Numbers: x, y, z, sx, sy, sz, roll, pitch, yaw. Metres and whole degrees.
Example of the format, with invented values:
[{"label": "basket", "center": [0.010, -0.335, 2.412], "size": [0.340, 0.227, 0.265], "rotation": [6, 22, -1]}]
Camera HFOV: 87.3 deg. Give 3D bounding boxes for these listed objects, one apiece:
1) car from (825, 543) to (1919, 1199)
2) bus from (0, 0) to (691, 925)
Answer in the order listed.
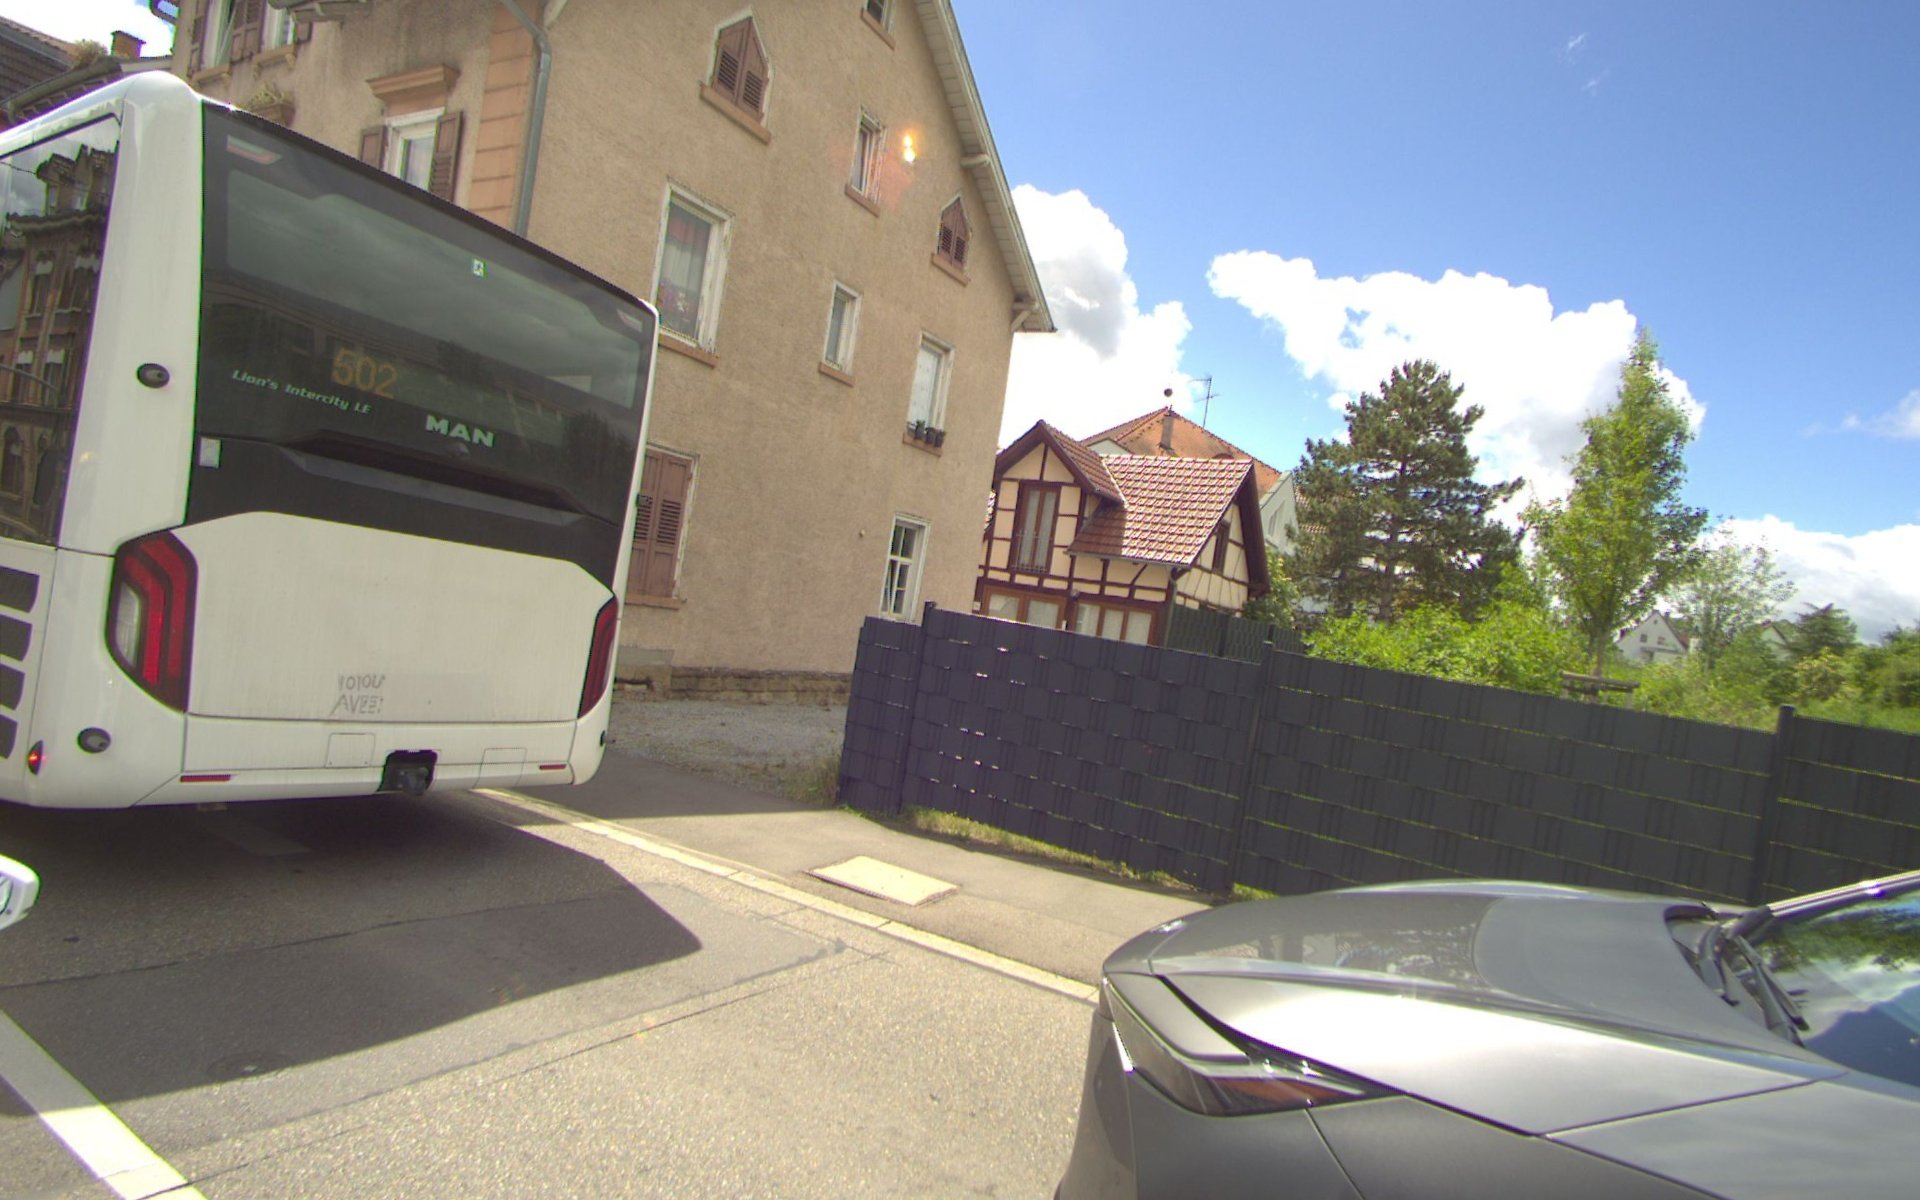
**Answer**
[{"label": "car", "center": [2.238, 1.059, 1.389], "size": [4.605, 1.631, 1.924], "rotation": [7, -2, 32]}, {"label": "bus", "center": [-7.531, -0.975, 7.736], "size": [12.256, 3.194, 2.676], "rotation": [7, 0, 32]}]
